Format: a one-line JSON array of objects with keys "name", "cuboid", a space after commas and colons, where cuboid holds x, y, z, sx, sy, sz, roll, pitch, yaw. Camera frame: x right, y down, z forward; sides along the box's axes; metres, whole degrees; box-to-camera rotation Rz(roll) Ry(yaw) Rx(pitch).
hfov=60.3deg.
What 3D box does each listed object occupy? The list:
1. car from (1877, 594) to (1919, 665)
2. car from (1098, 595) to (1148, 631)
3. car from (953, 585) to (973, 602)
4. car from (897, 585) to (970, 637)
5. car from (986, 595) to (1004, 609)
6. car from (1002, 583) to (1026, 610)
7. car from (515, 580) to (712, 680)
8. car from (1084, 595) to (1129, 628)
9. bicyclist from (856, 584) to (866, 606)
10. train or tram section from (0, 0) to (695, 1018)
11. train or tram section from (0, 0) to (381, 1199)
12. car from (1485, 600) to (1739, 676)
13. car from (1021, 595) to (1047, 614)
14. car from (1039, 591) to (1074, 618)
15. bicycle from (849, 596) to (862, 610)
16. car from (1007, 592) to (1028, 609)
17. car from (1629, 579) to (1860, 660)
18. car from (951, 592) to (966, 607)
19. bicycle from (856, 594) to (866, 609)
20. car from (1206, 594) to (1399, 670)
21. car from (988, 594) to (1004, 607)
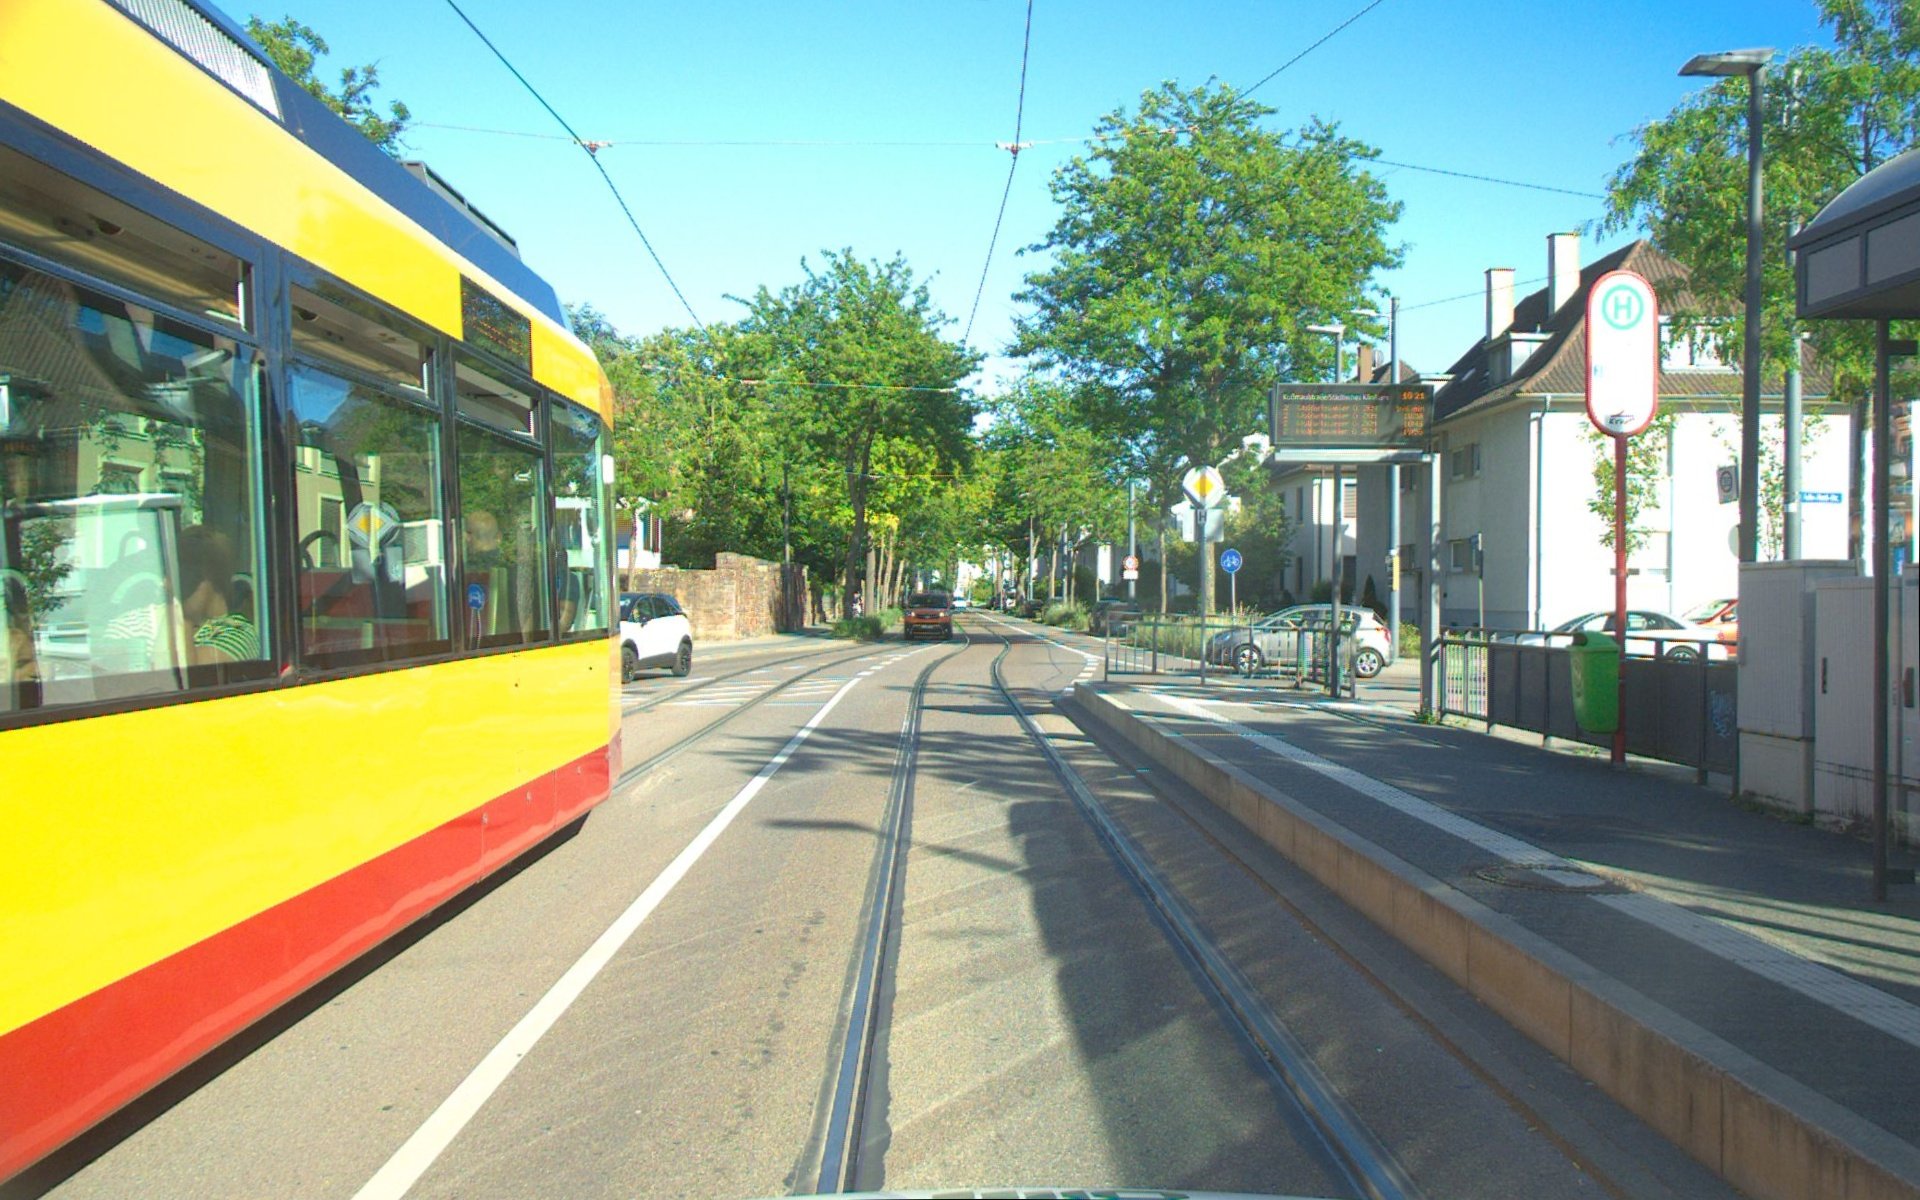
[{"name": "car", "cuboid": [22.704, 0.651, 36.366, 4.082, 1.534, 1.979, 0, 0, -6]}, {"name": "car", "cuboid": [7.262, 0.570, 74.067, 1.713, 1.521, 4.442, -1, 0, -1]}, {"name": "car", "cuboid": [0.391, -0.937, 248.306, 1.960, 2.501, 4.493, -1, 0, -14]}, {"name": "car", "cuboid": [-1.023, 0.411, 66.735, 1.951, 2.000, 4.938, 0, 0, 11]}, {"name": "car", "cuboid": [4.279, 0.241, 202.298, 1.962, 1.704, 4.391, -2, 0, -1]}, {"name": "car", "cuboid": [5.540, -0.367, 170.296, 2.200, 2.700, 5.584, 0, 0, -1]}, {"name": "car", "cuboid": [-6.208, 0.497, 30.136, 1.727, 1.693, 4.213, 0, 0, 16]}, {"name": "car", "cuboid": [7.028, 0.532, 79.787, 1.713, 1.521, 3.996, -1, 0, -1]}, {"name": "bicyclist", "cuboid": [-6.885, -0.357, 115.083, 0.581, 1.554, 1.061, 0, 0, 0]}, {"name": "train or tram section", "cuboid": [-3.268, -0.448, 8.617, 2.747, 3.520, 6.667, 1, 0, -1]}, {"name": "train or tram section", "cuboid": [-3.196, -0.400, 1.925, 2.747, 3.520, 6.667, 1, 0, -1]}, {"name": "car", "cuboid": [13.149, 0.768, 33.616, 4.505, 1.492, 1.983, 0, -2, 11]}, {"name": "car", "cuboid": [6.205, 0.353, 139.081, 1.748, 1.473, 4.299, -3, 0, -3]}, {"name": "car", "cuboid": [6.553, 0.291, 112.703, 1.953, 1.734, 4.476, -3, 0, -2]}, {"name": "bicycle", "cuboid": [-6.999, 0.201, 110.979, 0.696, 0.977, 2.094, 0, 0, 0]}, {"name": "car", "cuboid": [5.161, 0.046, 148.537, 1.594, 1.422, 3.644, -3, 0, -1]}, {"name": "car", "cuboid": [16.922, 0.405, 35.818, 4.079, 1.670, 1.981, 0, 0, -3]}, {"name": "car", "cuboid": [-0.171, -0.066, 203.189, 1.827, 1.704, 4.173, -1, 0, 1]}, {"name": "bicycle", "cuboid": [-6.888, 0.106, 115.010, 0.577, 0.977, 2.132, 0, 0, 0]}, {"name": "car", "cuboid": [7.222, 0.654, 35.177, 3.902, 1.534, 1.984, 1, 0, 9]}, {"name": "car", "cuboid": [4.794, 0.032, 219.854, 1.961, 1.704, 4.394, -2, 0, 3]}]
